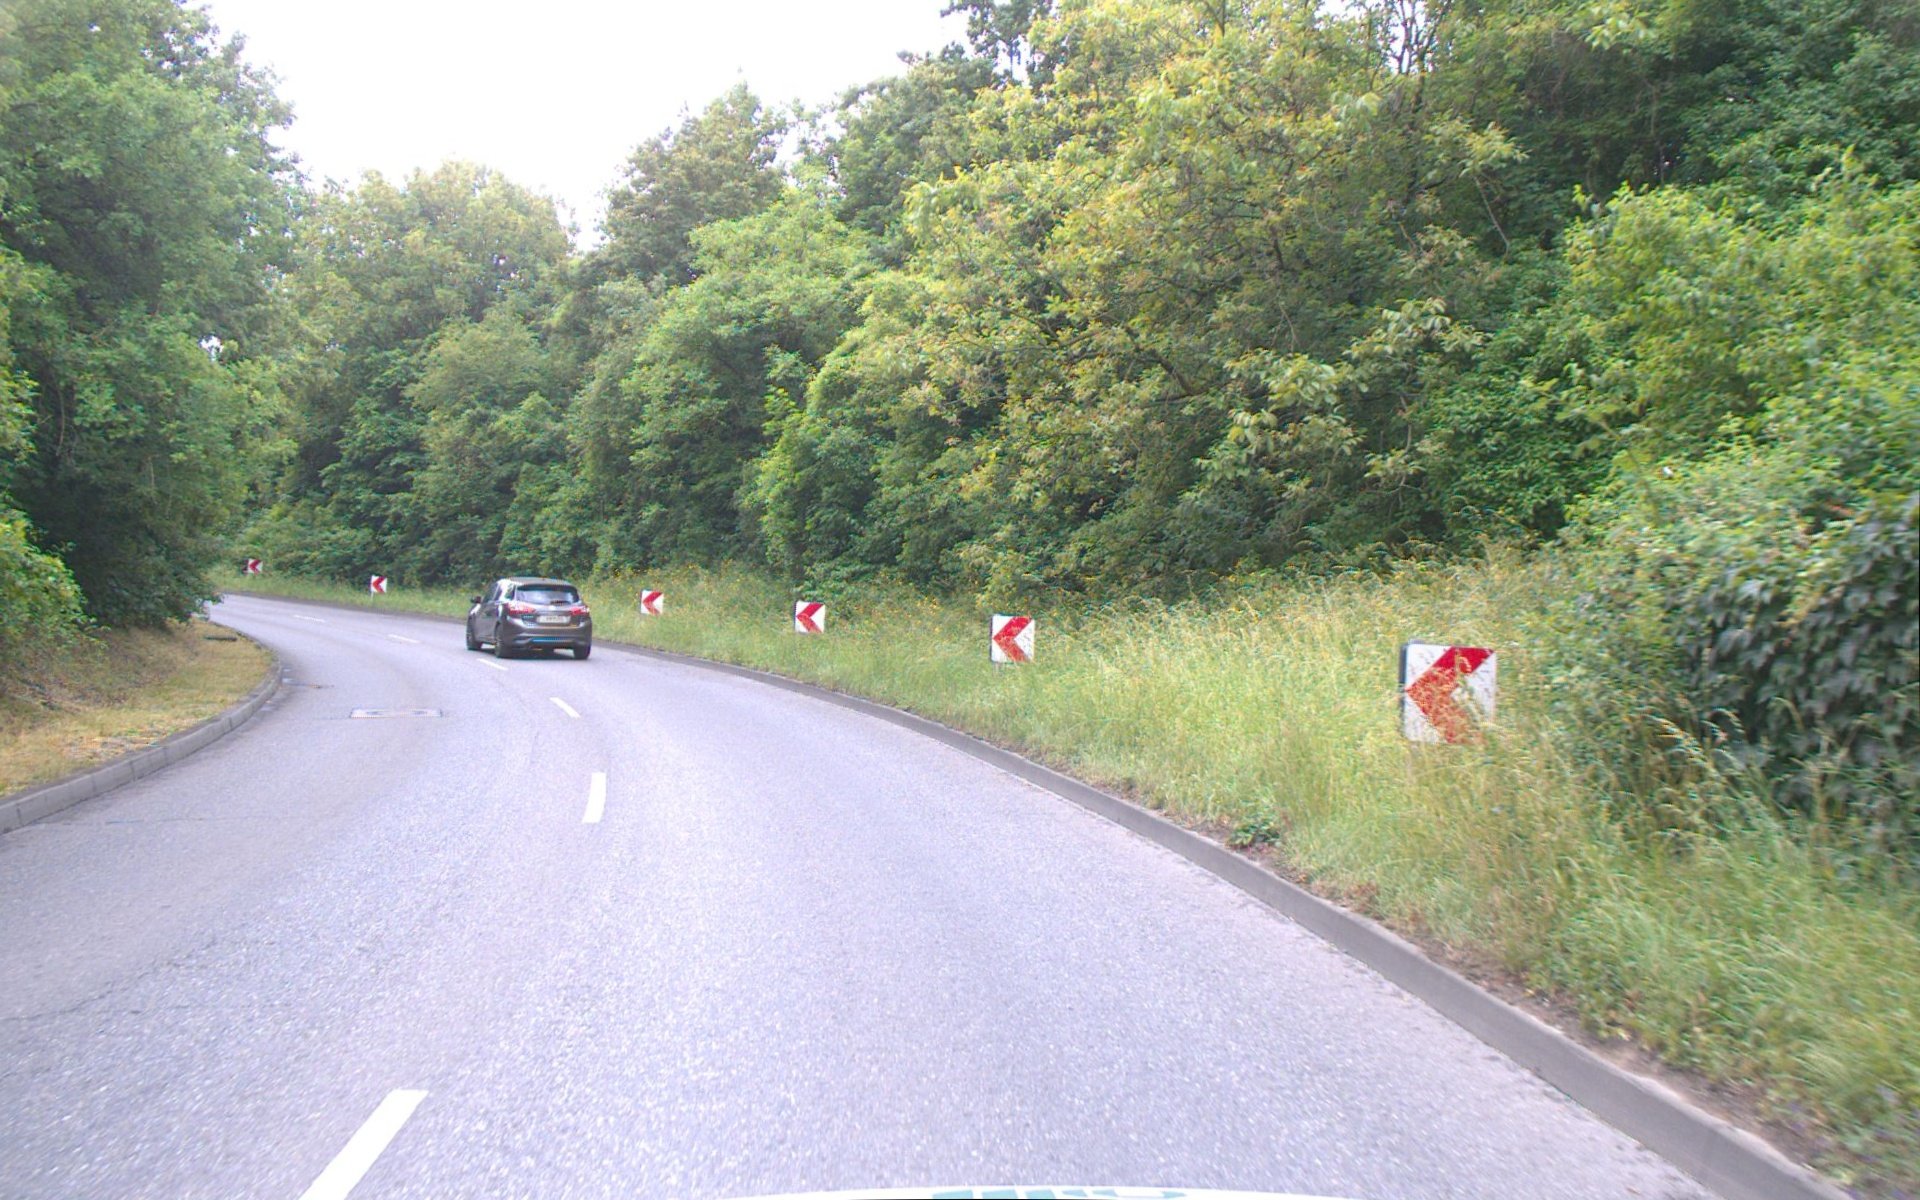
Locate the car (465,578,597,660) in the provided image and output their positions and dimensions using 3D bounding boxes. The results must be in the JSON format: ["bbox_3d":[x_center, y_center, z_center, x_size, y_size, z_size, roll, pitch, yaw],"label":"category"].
[{"bbox_3d":[-8.616,0.334,33.018,1.817,1.509,3.967,0,1,-26],"label":"car"}]
